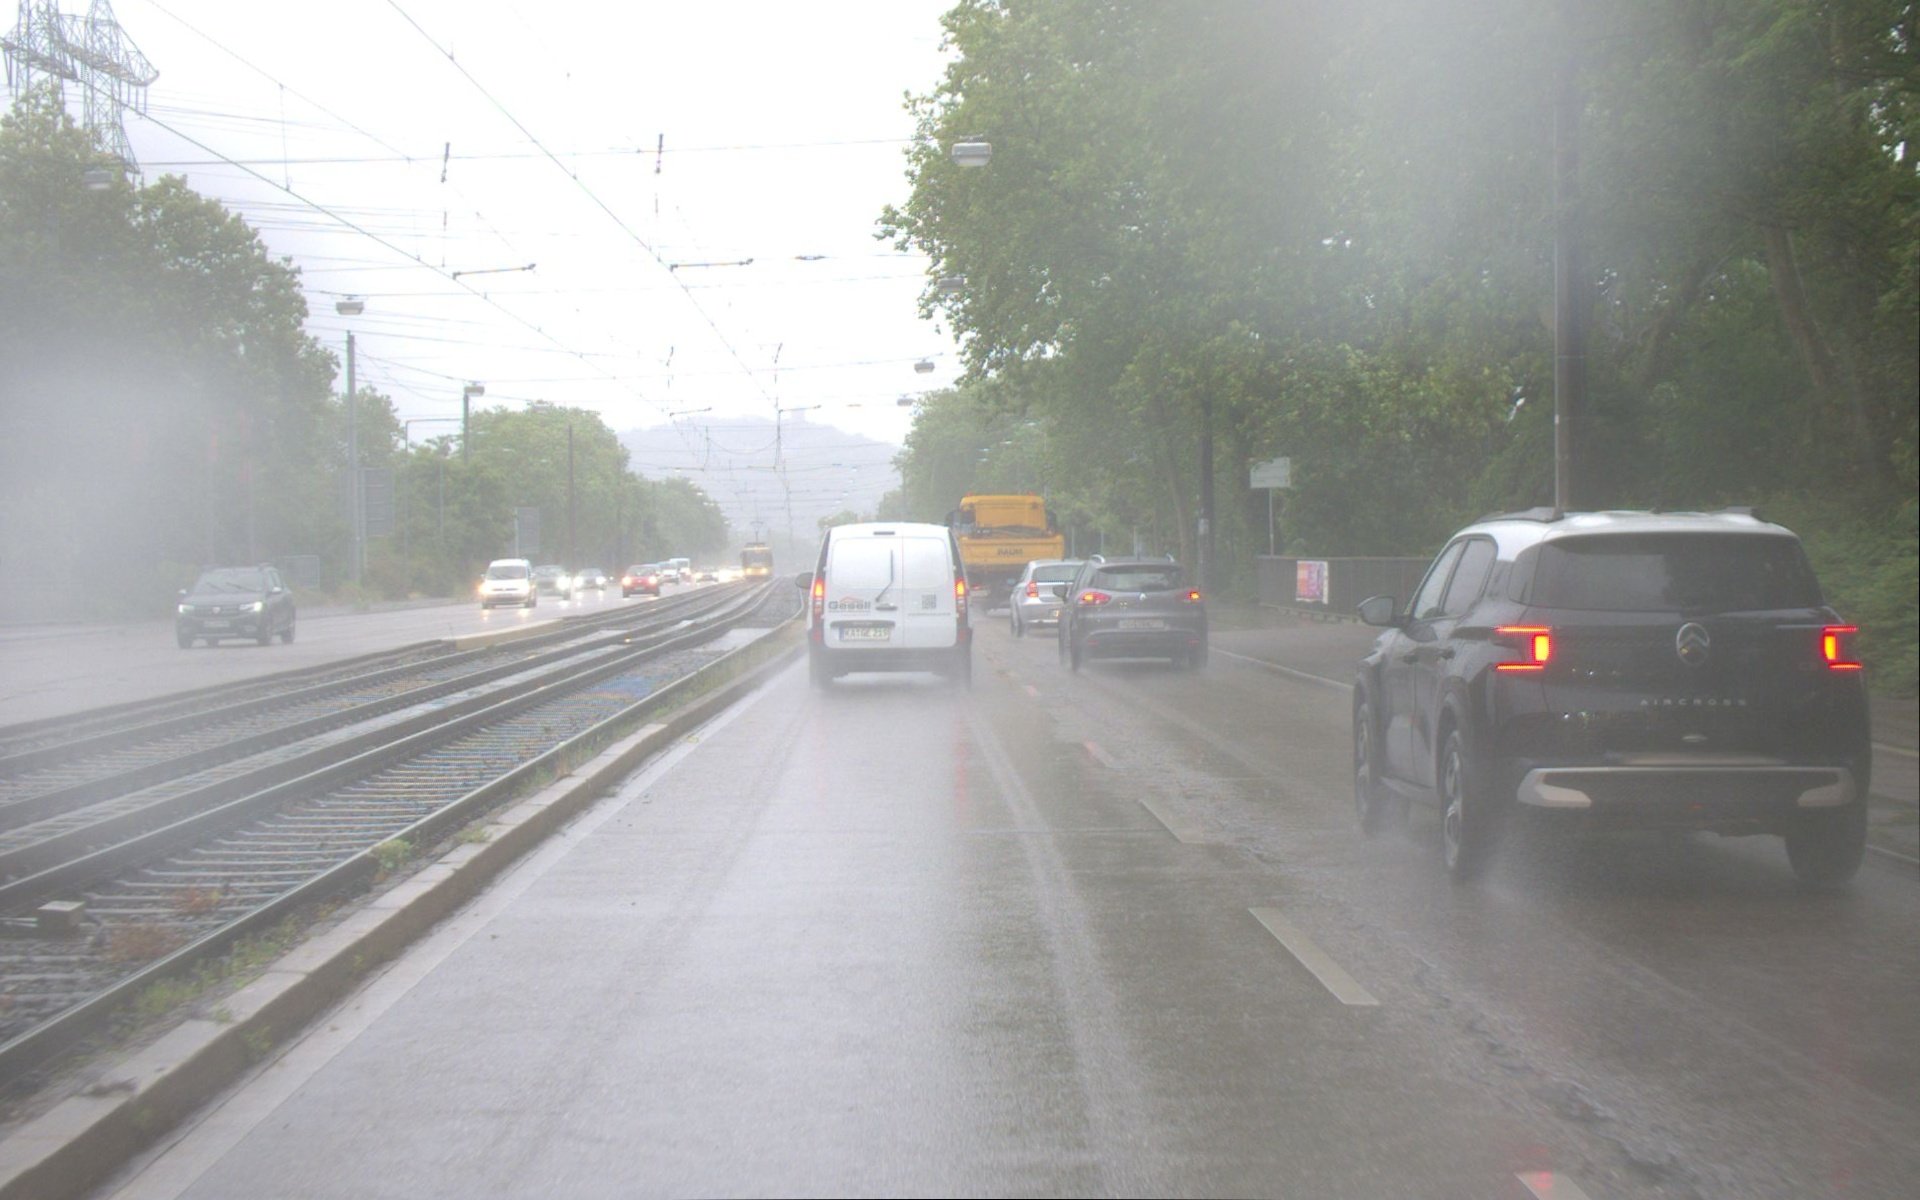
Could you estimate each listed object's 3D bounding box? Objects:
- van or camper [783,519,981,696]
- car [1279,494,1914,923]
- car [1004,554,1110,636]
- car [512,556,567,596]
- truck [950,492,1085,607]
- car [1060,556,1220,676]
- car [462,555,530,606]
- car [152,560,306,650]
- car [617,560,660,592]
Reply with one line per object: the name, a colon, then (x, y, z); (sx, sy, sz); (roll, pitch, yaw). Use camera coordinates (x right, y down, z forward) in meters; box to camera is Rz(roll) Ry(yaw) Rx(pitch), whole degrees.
van or camper: (-0.914, 0.032, 37.846); (1.993, 1.778, 4.001); (1, 2, -4)
car: (2.765, 0.370, 16.105); (1.899, 1.711, 4.726); (0, 2, -2)
car: (1.776, -0.110, 63.895); (1.818, 1.409, 3.779); (0, 2, 0)
car: (-19.468, -1.131, 159.366); (1.993, 1.809, 4.000); (-1, 1, 0)
truck: (1.380, -1.282, 85.682); (3.112, 2.763, 6.330); (0, 1, -1)
car: (2.275, 0.170, 44.252); (1.818, 1.409, 3.779); (0, 2, 0)
car: (-17.248, -0.754, 128.029); (1.993, 1.809, 4.659); (-1, 1, -1)
car: (-14.085, 0.062, 66.458); (1.993, 1.612, 4.253); (-1, 1, 1)
car: (-15.271, -1.142, 163.459); (1.657, 1.481, 4.013); (-1, 1, 0)
